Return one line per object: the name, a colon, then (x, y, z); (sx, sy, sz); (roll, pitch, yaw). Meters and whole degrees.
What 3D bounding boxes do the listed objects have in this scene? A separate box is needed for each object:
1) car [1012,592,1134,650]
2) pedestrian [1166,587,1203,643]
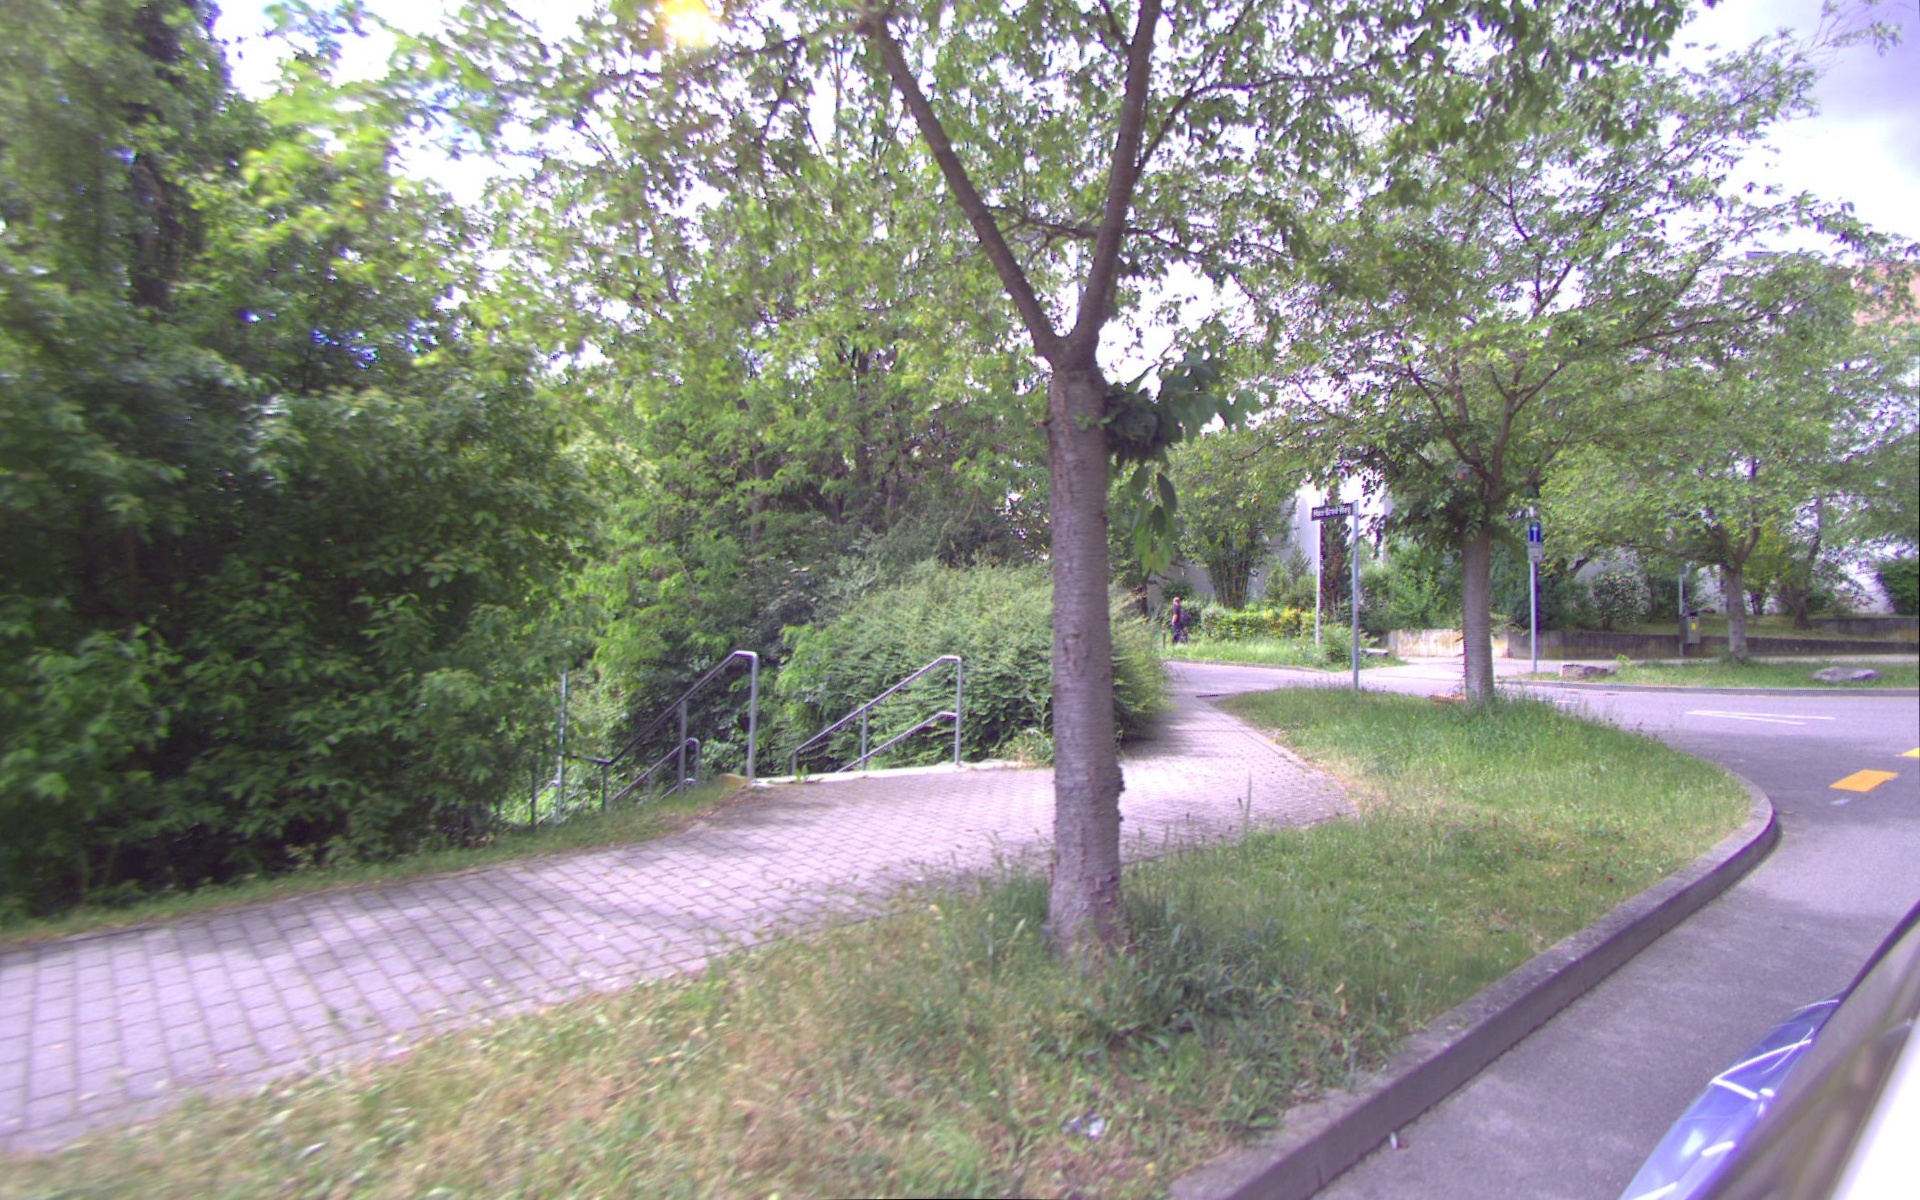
car: (3.464, 0.624, 31.703); (1.694, 1.683, 4.002); (-1, 0, -32)
pedestrian: (7.152, 0.479, 32.276); (0.770, 1.759, 0.835); (-1, 0, -32)
